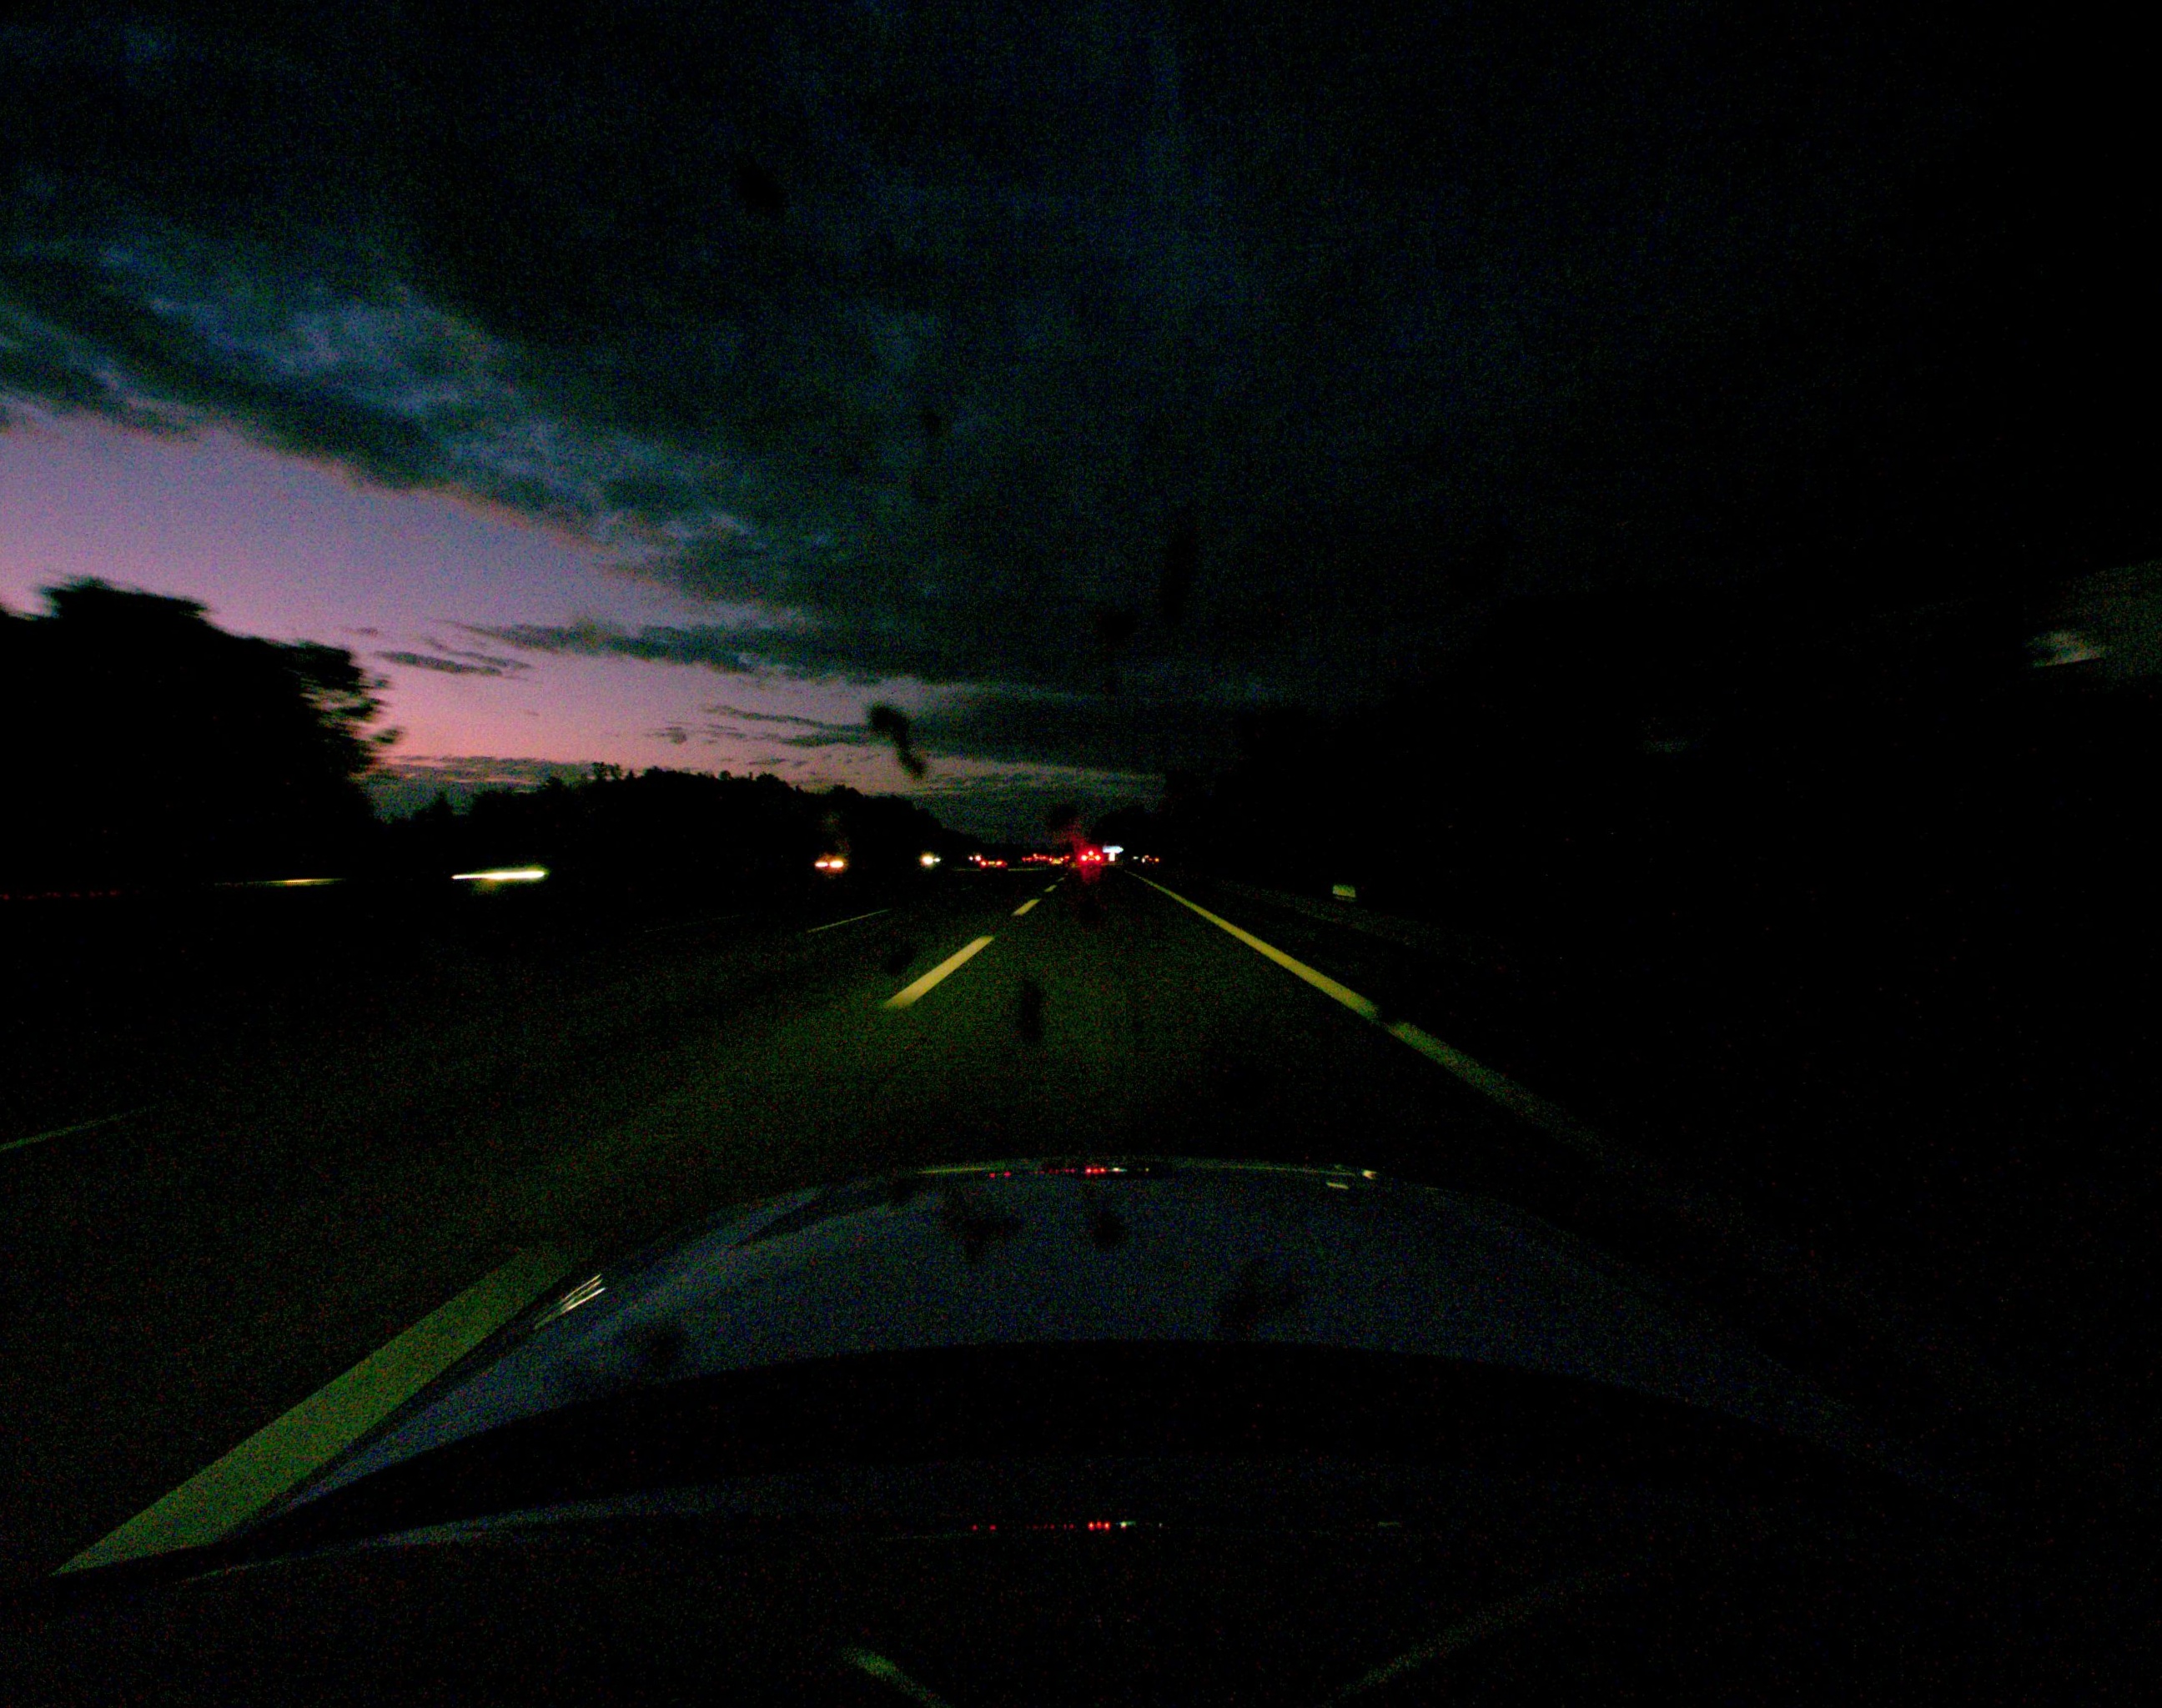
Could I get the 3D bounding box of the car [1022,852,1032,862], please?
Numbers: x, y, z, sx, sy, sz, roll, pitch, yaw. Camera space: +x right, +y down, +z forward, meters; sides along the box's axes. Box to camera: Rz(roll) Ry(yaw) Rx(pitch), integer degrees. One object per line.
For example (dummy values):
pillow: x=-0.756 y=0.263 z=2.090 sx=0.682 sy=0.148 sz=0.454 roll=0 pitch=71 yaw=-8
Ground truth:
car: x=-11.326 y=0.582 z=170.001 sx=2.101 sy=2.013 sz=3.994 roll=-2 pitch=0 yaw=-5

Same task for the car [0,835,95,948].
car: x=-20.231 y=0.680 z=13.579 sx=1.985 sy=2.013 sz=4.491 roll=-1 pitch=0 yaw=3

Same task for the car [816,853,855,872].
car: x=-22.376 y=0.746 z=74.456 sx=1.986 sy=1.610 sz=4.561 roll=-1 pitch=0 yaw=2

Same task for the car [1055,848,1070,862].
car: x=-2.863 y=0.148 z=127.901 sx=1.986 sy=2.013 sz=4.002 roll=-1 pitch=0 yaw=2

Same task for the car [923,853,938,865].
car: x=-26.877 y=0.902 z=145.885 sx=2.022 sy=2.013 sz=4.236 roll=-1 pitch=0 yaw=-2

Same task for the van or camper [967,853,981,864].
van or camper: x=-24.929 y=0.991 z=189.875 sx=2.509 sy=2.595 sz=6.487 roll=0 pitch=0 yaw=0

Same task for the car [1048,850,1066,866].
car: x=-2.938 y=0.477 z=99.382 sx=1.986 sy=2.013 sz=4.001 roll=0 pitch=0 yaw=1

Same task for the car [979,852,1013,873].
car: x=-7.020 y=0.659 z=67.791 sx=1.984 sy=1.642 sz=4.561 roll=-1 pitch=0 yaw=5

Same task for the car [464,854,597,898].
car: x=-22.743 y=0.838 z=33.945 sx=1.986 sy=1.664 sz=5.012 roll=-1 pitch=0 yaw=1

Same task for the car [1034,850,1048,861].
car: x=-7.213 y=0.264 z=146.454 sx=2.063 sy=2.013 sz=4.003 roll=-1 pitch=0 yaw=2

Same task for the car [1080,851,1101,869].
car: x=0.934 y=0.568 z=80.830 sx=1.987 sy=1.659 sz=4.313 roll=-1 pitch=0 yaw=-1

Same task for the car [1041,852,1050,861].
car: x=-8.331 y=0.622 z=190.265 sx=1.989 sy=2.014 sz=3.995 roll=-1 pitch=0 yaw=-3
